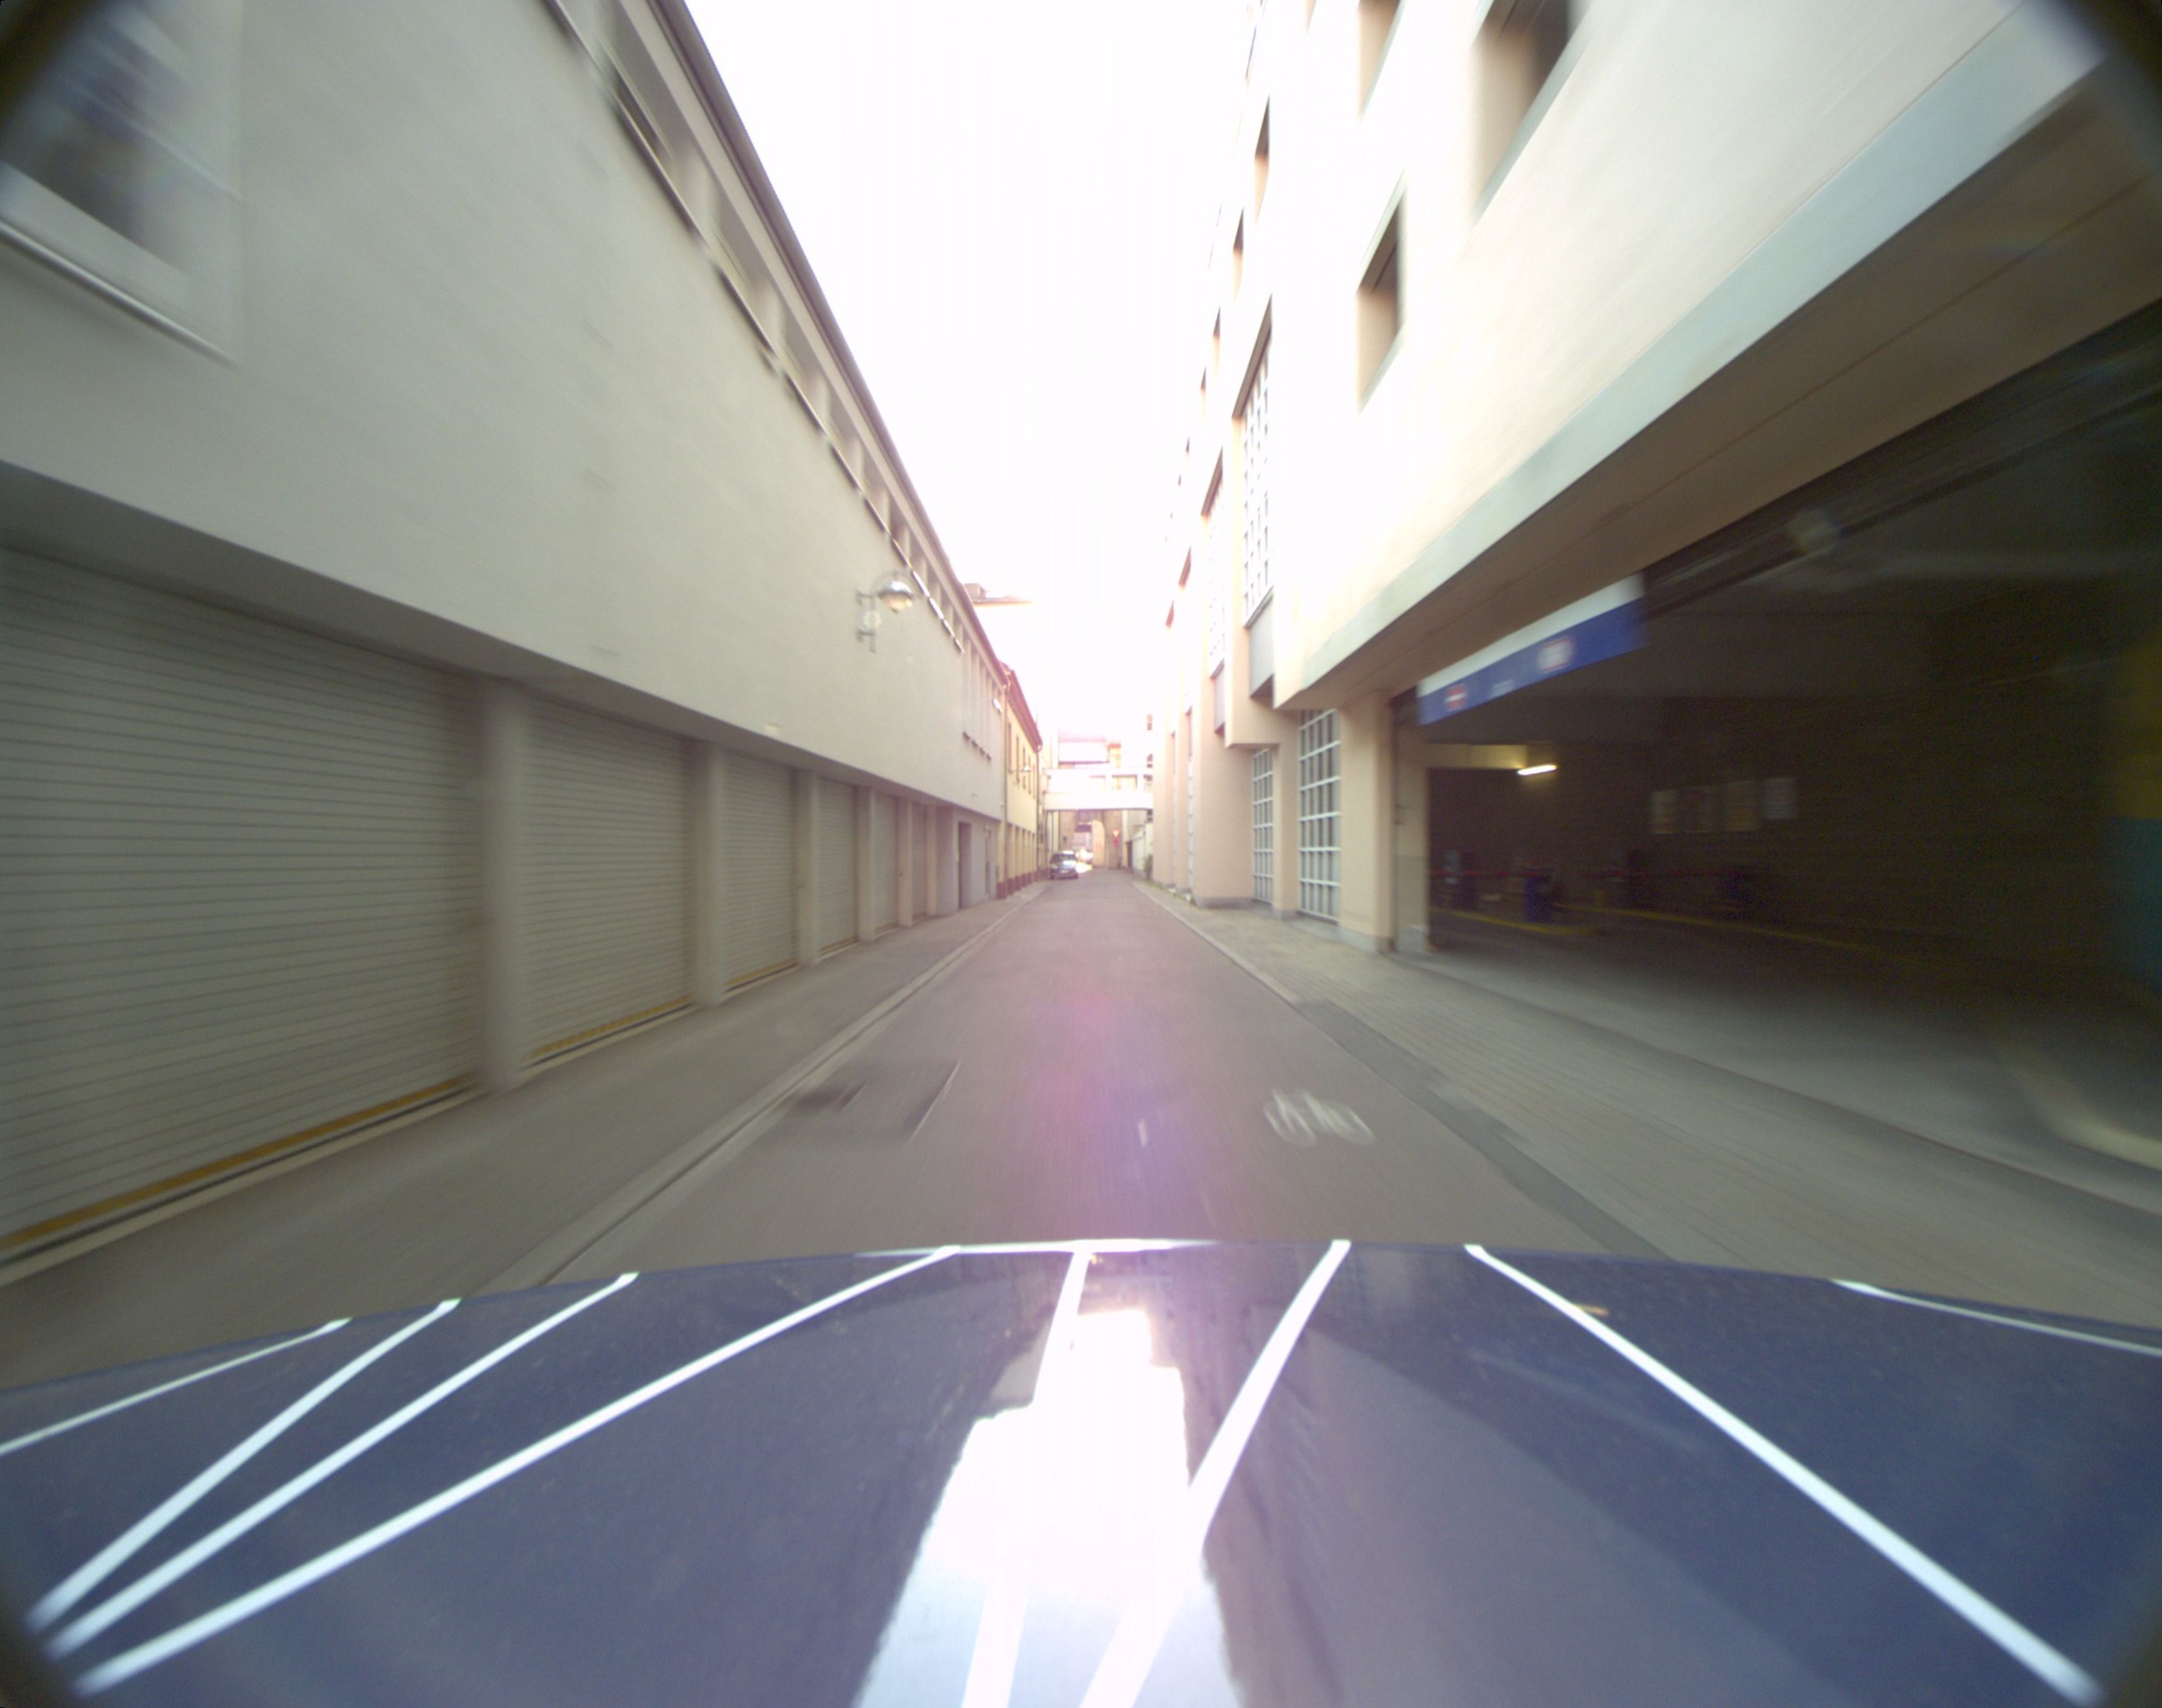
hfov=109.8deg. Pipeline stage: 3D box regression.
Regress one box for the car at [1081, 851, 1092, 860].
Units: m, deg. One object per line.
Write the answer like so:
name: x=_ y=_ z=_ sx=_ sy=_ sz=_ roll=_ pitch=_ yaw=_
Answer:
car: x=0.975 y=0.252 z=138.948 sx=1.806 sy=1.415 sz=3.754 roll=-2 pitch=0 yaw=-2

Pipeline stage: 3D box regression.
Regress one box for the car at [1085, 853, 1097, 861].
car: x=1.741 y=0.489 z=133.596 sx=1.806 sy=1.415 sz=3.755 roll=-2 pitch=0 yaw=-1

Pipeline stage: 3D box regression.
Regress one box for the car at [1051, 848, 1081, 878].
car: x=-0.948 y=0.559 z=49.646 sx=1.764 sy=1.756 sz=4.750 roll=-2 pitch=0 yaw=0
